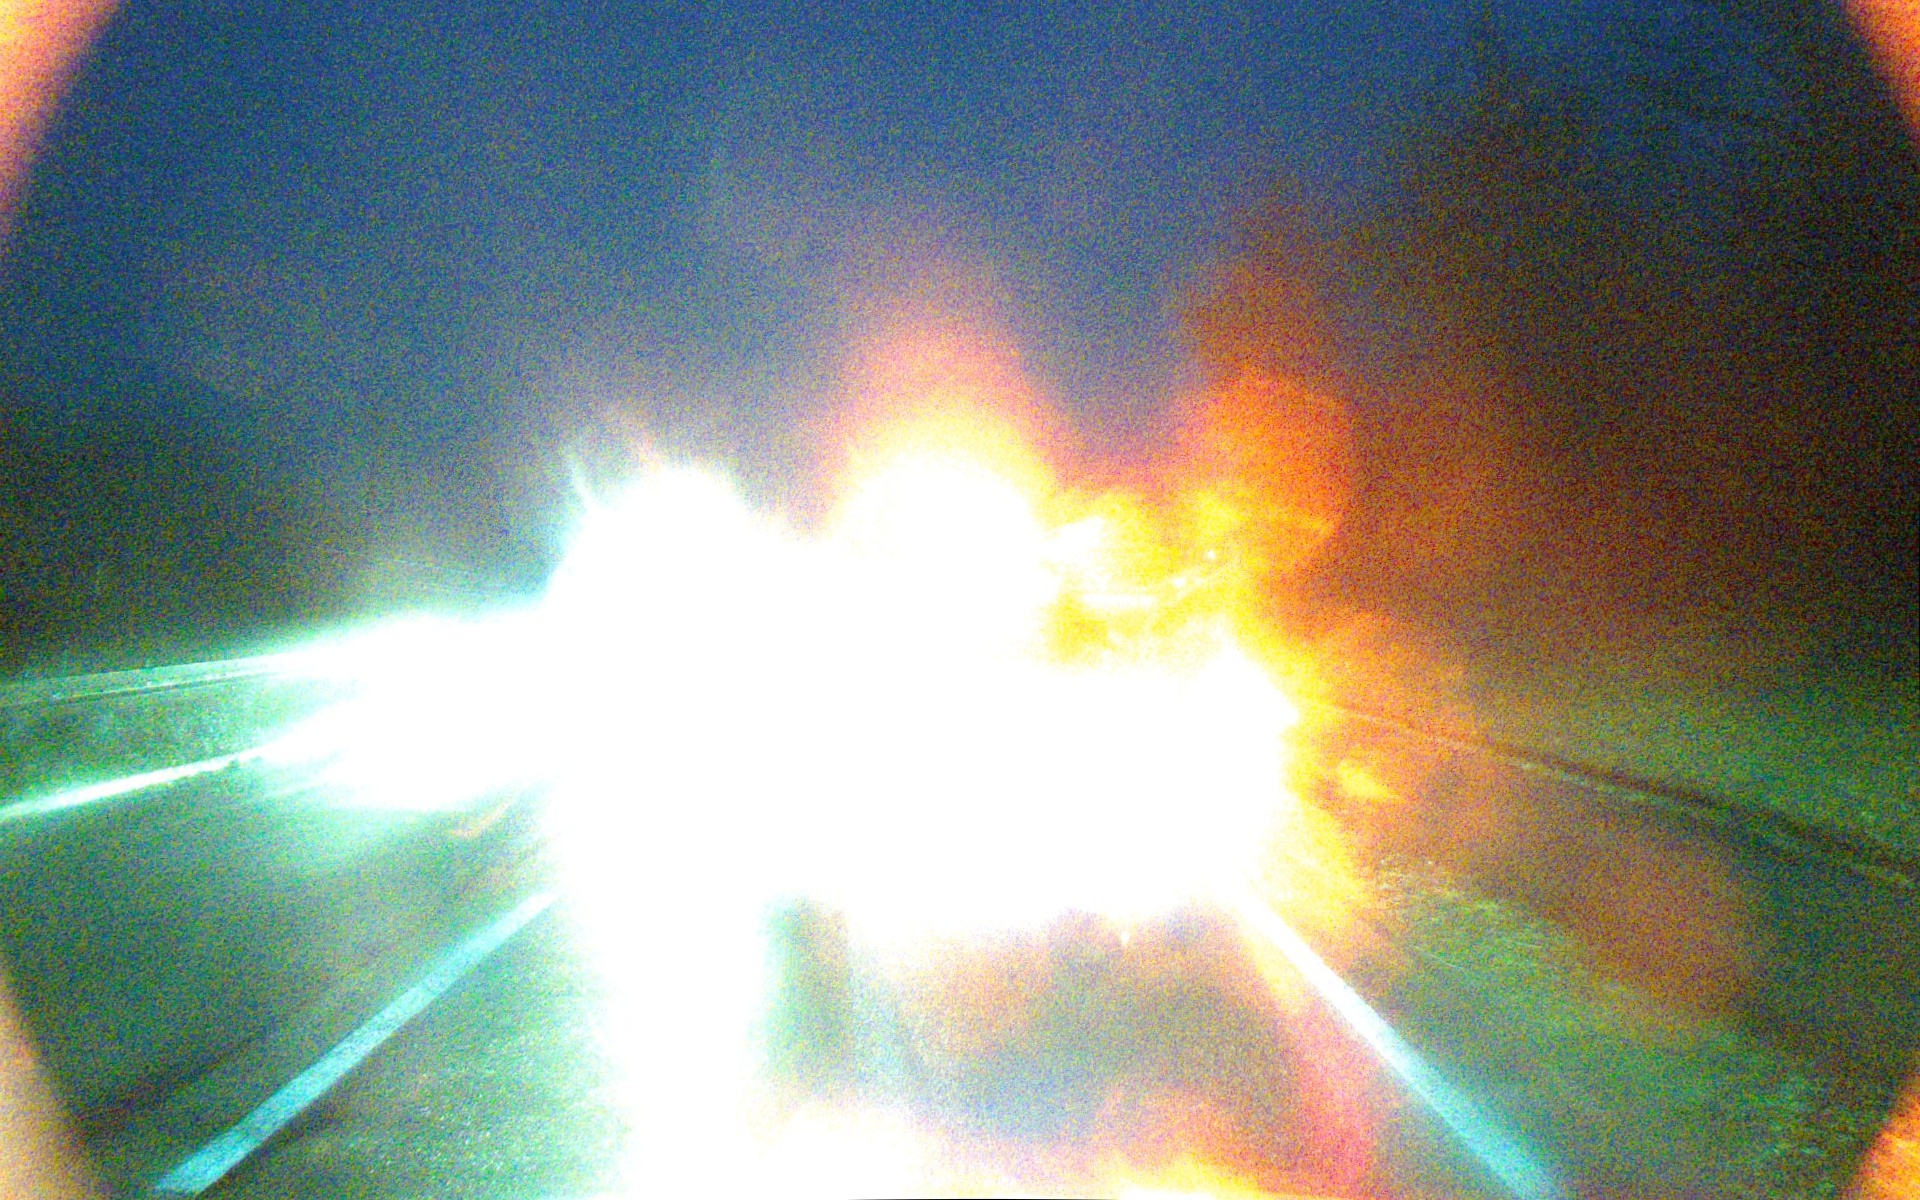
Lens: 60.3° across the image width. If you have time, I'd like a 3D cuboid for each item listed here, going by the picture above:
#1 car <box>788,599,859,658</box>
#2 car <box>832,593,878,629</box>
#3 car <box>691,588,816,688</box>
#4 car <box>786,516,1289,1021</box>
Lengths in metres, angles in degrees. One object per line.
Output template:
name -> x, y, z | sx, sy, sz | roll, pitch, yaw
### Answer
car -> -3.928, 0.799, 48.307 | 1.800, 1.573, 4.256 | 1, 1, -2
car -> -4.667, 0.451, 74.215 | 1.865, 1.495, 4.273 | 2, 0, -2
car -> -3.710, 0.635, 30.316 | 1.912, 1.685, 4.122 | -1, 0, -2
car -> 0.264, 0.586, 7.788 | 1.739, 1.742, 4.000 | 1, 0, 0
